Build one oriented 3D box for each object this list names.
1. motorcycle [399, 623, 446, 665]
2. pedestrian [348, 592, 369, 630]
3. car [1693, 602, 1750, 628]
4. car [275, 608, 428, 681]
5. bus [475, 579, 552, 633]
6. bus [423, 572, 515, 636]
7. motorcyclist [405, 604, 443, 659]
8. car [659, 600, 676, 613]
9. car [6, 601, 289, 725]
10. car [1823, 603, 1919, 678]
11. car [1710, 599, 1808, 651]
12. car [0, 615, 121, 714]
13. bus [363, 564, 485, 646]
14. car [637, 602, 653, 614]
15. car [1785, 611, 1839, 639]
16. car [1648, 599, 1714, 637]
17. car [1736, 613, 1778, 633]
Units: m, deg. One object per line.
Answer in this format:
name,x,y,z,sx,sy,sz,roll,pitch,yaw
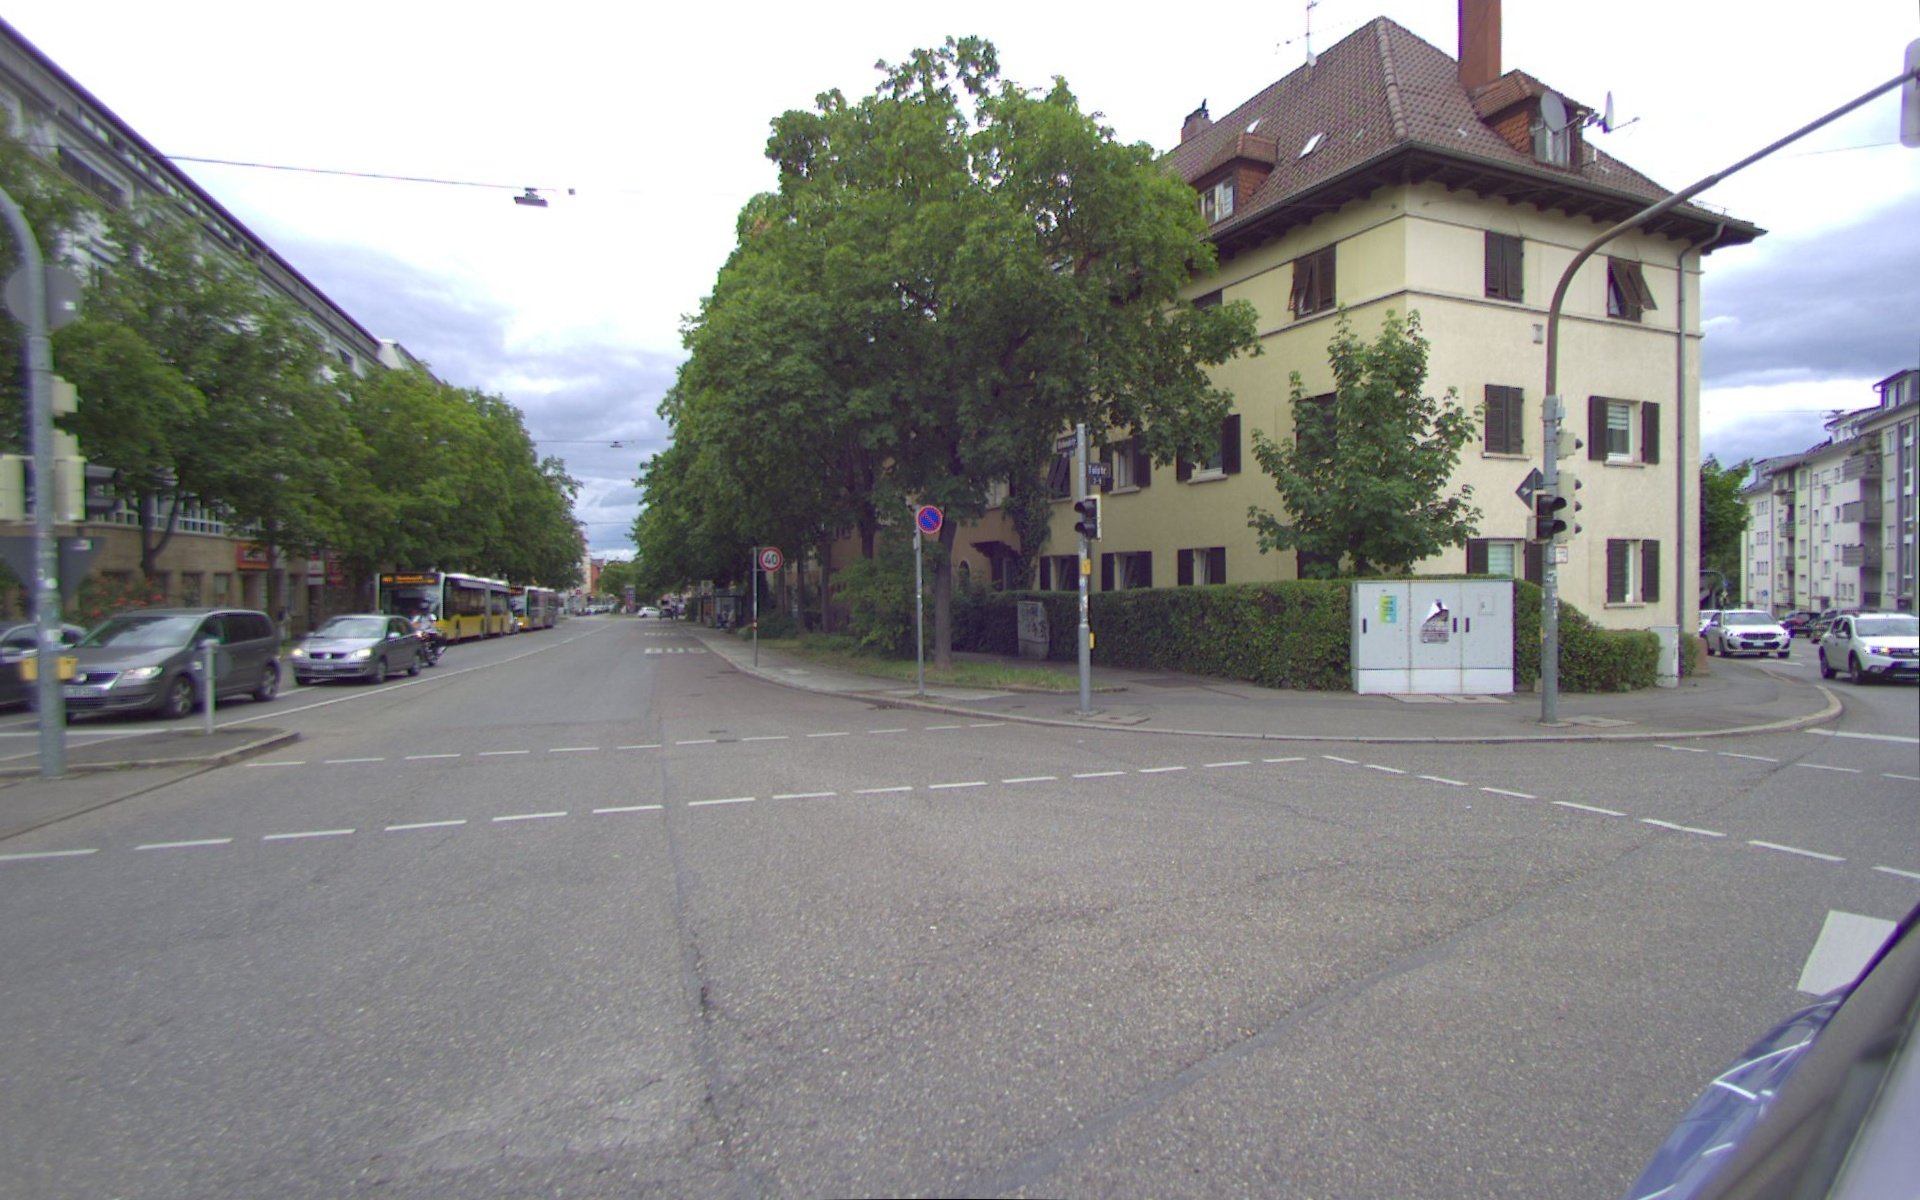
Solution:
motorcycle,-14.293,1.149,26.966,0.625,1.000,2.402,0,0,-16
pedestrian,-31.376,0.565,52.789,0.733,1.937,0.811,0,-1,-14
car,42.954,0.805,57.185,1.865,1.372,4.107,-2,-1,27
car,-13.206,0.904,22.213,1.630,1.439,3.798,0,0,-10
bus,-30.681,0.377,70.096,3.372,3.384,12.862,0,0,-17
bus,-26.103,0.200,54.321,2.819,3.088,10.952,0,0,-17
motorcyclist,-14.312,0.832,27.027,0.694,1.436,1.012,0,-1,-16
car,-38.271,0.891,132.589,1.958,1.661,4.008,0,0,-14
car,-12.567,0.869,16.042,1.675,1.659,4.206,-1,0,-10
car,20.647,0.830,22.239,1.886,1.529,4.120,-1,-1,32
car,27.292,0.828,34.697,1.883,1.666,3.960,-3,-1,28
car,-15.409,0.996,15.807,1.675,1.442,4.206,0,0,-10
bus,-22.978,0.198,44.014,2.803,3.148,10.422,0,0,-17
car,-46.710,1.200,150.108,1.958,1.661,4.008,0,0,-14
car,54.502,1.564,64.785,1.758,1.621,3.509,1,1,26
car,32.901,0.791,46.266,1.882,1.601,3.962,-1,0,27
car,62.543,1.757,79.479,1.758,1.420,3.726,1,1,26
